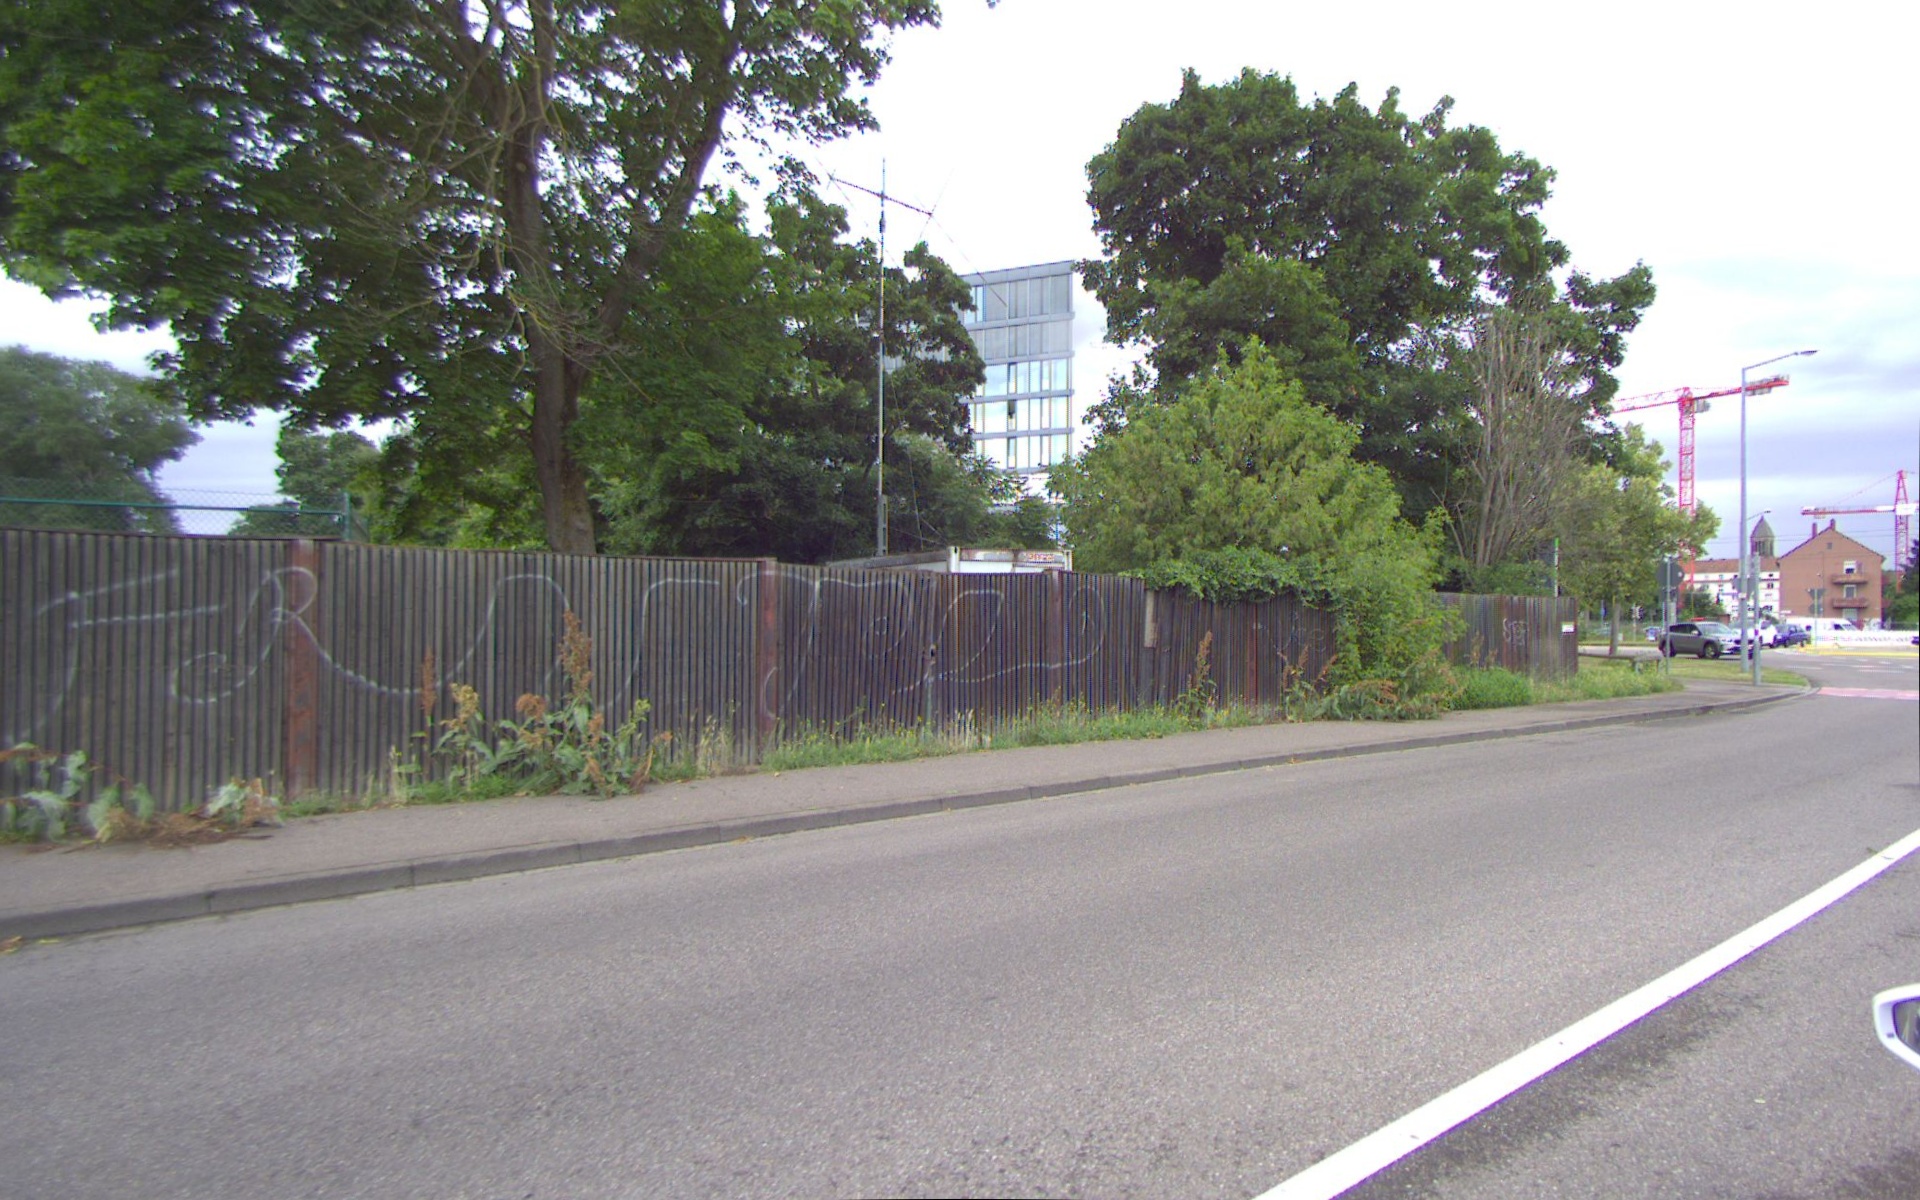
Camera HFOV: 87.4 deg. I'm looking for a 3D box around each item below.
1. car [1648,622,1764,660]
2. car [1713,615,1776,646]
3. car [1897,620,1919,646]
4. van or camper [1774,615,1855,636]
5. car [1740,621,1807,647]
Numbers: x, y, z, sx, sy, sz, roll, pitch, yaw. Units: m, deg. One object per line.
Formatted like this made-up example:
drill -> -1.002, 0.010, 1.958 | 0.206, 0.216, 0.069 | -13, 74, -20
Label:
car -> 33.647, 1.799, 45.489 | 1.960, 1.604, 4.533 | 0, -1, 2
car -> 44.773, 1.741, 57.300 | 4.152, 1.706, 1.916 | 1, -1, -39
car -> 62.982, 2.090, 63.922 | 4.580, 1.656, 2.001 | 0, -1, 7
van or camper -> 87.490, 2.618, 102.964 | 1.969, 2.040, 6.170 | 1, -1, -19
car -> 49.633, 2.063, 61.251 | 3.953, 1.509, 1.922 | 1, -1, -30
